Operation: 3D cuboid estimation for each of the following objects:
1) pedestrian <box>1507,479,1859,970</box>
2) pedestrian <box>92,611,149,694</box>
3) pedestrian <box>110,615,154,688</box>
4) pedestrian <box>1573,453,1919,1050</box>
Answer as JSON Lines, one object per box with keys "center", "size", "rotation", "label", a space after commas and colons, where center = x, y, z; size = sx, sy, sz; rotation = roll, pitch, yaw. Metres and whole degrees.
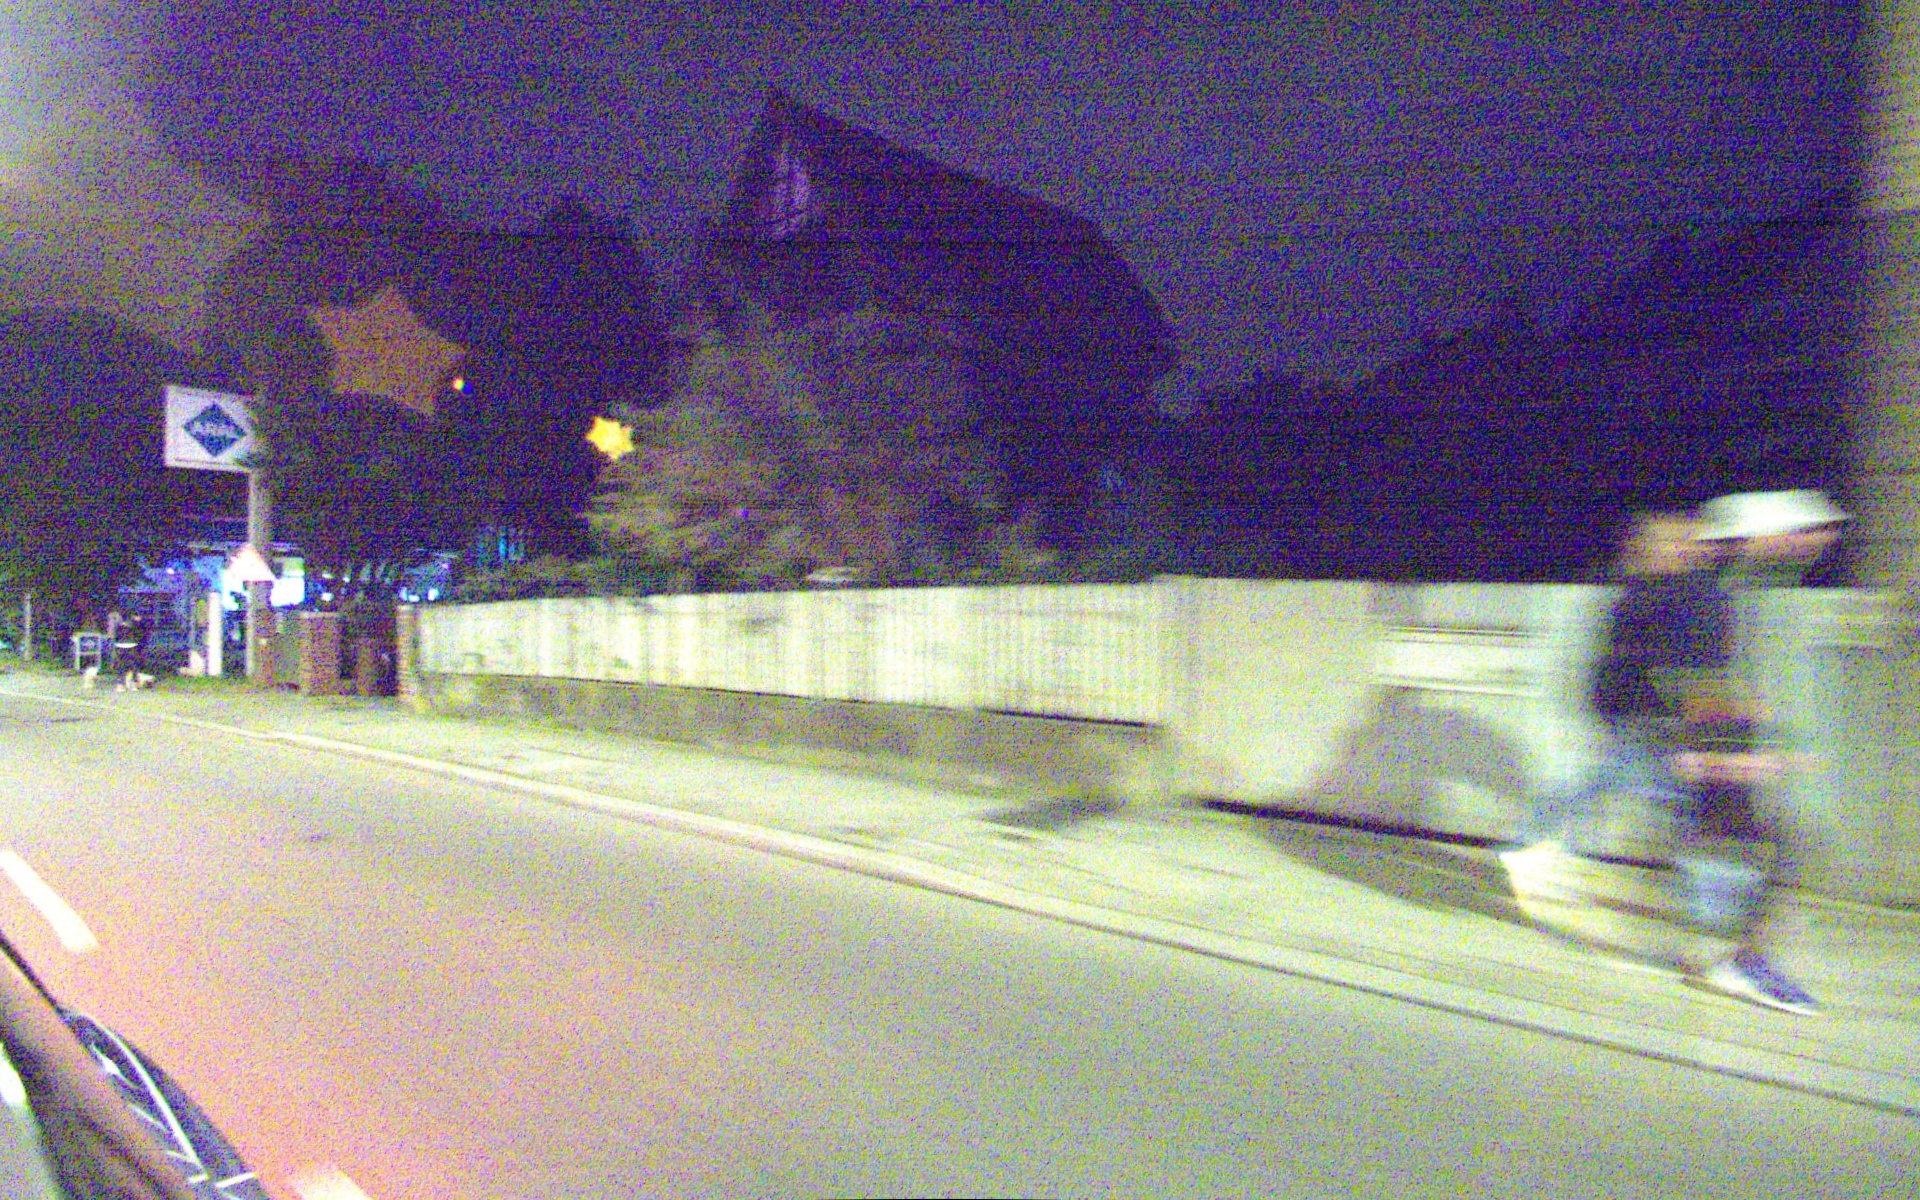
{"center": [3.012, 0.450, 4.265], "size": [1.102, 1.758, 0.735], "rotation": [-1, -1, 40], "label": "pedestrian"}
{"center": [-17.727, 1.093, 21.377], "size": [1.102, 1.684, 0.735], "rotation": [-1, -1, 40], "label": "pedestrian"}
{"center": [-20.391, 1.253, 24.916], "size": [0.865, 1.739, 0.662], "rotation": [-2, -1, 38], "label": "pedestrian"}
{"center": [2.764, 0.449, 3.472], "size": [1.028, 1.758, 0.668], "rotation": [-1, -1, 40], "label": "pedestrian"}
